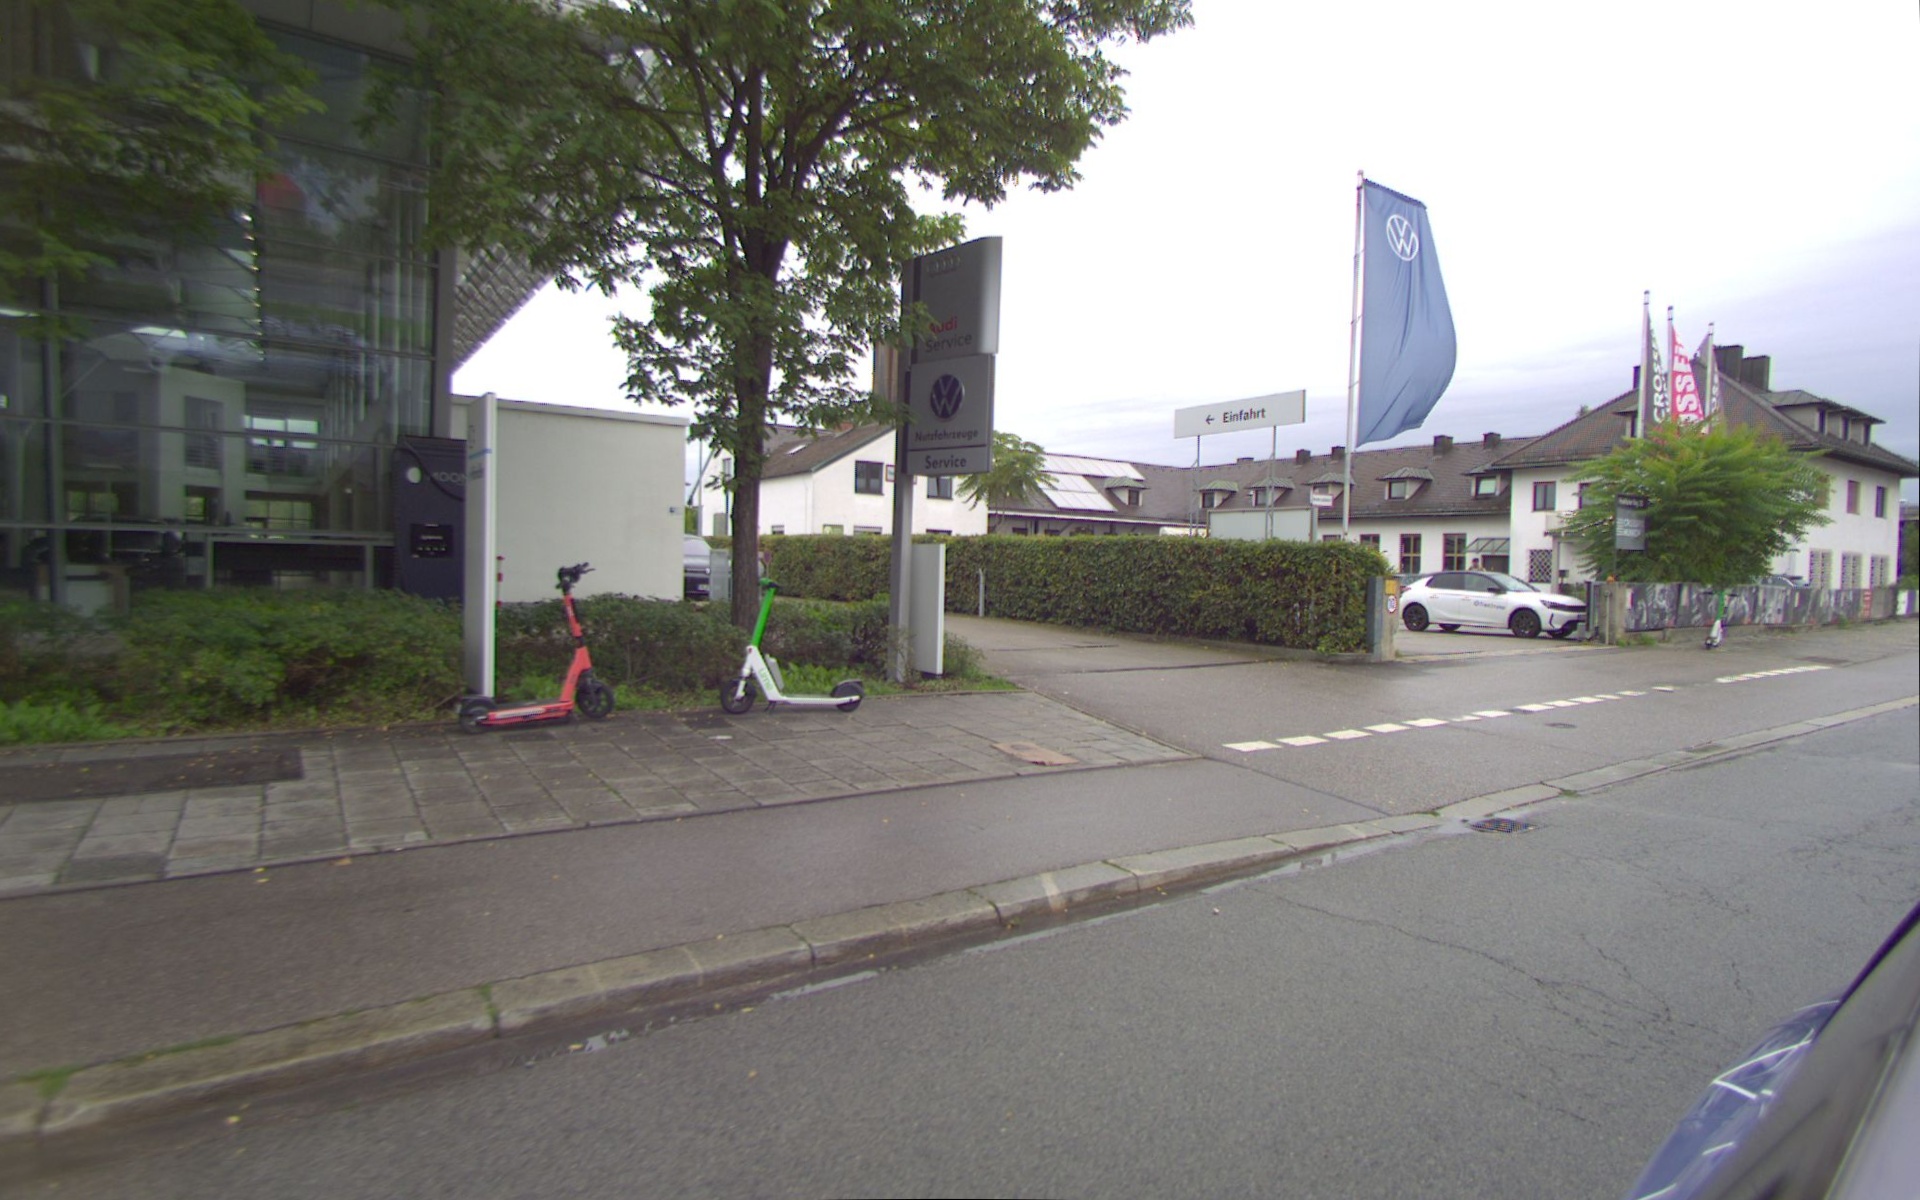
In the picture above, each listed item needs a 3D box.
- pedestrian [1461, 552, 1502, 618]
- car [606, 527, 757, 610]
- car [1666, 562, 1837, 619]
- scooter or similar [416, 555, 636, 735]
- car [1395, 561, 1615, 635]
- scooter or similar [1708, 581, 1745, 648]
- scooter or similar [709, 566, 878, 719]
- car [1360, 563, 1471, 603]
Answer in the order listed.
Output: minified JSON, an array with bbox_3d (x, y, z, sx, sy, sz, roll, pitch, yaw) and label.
[{"bbox_3d":[15.356,-0.448,29.797,0.915,1.925,0.735,0,2,-39],"label":"pedestrian"},{"bbox_3d":[-6.199,-0.747,22.194,1.825,1.601,4.281,1,3,-35],"label":"car"},{"bbox_3d":[26.343,-0.355,33.787,1.891,1.747,4.110,0,2,-36],"label":"car"},{"bbox_3d":[-3.237,0.307,7.601,1.403,1.219,0.497,1,4,-38],"label":"scooter or similar"},{"bbox_3d":[12.263,-0.107,23.025,1.759,1.478,4.029,0,3,-34],"label":"car"},{"bbox_3d":[15.622,0.272,20.617,0.397,1.237,1.615,6,6,41],"label":"scooter or similar"},{"bbox_3d":[-1.441,0.324,8.907,1.407,1.219,0.496,-2,6,-45],"label":"scooter or similar"},{"bbox_3d":[17.996,-0.675,39.991,4.026,1.512,1.930,0,2,-28],"label":"car"}]
